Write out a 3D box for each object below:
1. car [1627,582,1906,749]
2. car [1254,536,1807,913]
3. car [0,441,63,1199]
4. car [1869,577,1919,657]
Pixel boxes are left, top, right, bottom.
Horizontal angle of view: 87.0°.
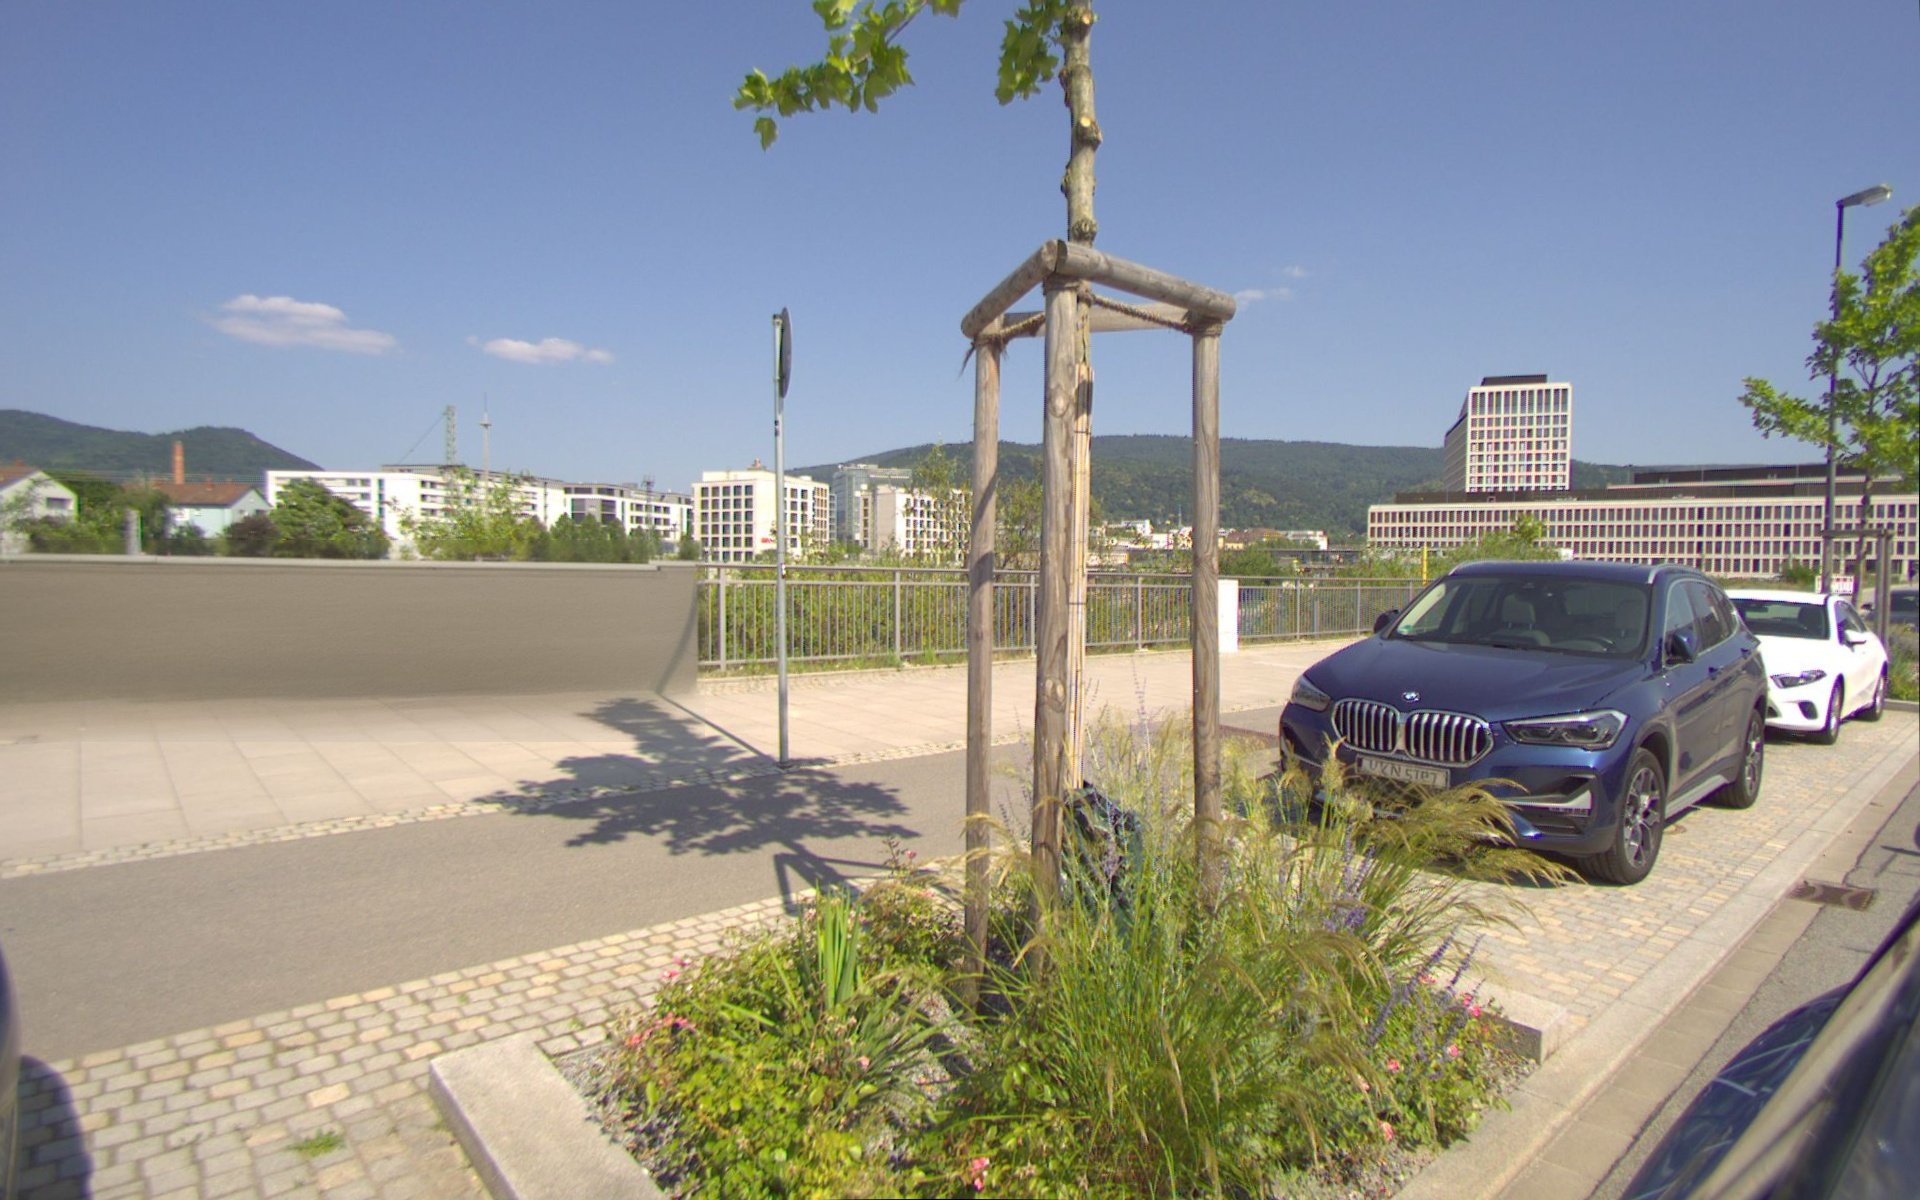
[{"bbox_3d":[8.775,0.558,10.898,3.930,1.473,1.663,-1,0,-41],"label":"car"},{"bbox_3d":[3.806,0.513,6.418,4.164,1.627,1.768,-1,0,-41],"label":"car"},{"bbox_3d":[-2.979,0.543,0.377,3.931,1.444,1.663,-1,3,-42],"label":"car"},{"bbox_3d":[20.370,0.313,21.069,3.930,1.558,1.663,-1,0,-41],"label":"car"}]
